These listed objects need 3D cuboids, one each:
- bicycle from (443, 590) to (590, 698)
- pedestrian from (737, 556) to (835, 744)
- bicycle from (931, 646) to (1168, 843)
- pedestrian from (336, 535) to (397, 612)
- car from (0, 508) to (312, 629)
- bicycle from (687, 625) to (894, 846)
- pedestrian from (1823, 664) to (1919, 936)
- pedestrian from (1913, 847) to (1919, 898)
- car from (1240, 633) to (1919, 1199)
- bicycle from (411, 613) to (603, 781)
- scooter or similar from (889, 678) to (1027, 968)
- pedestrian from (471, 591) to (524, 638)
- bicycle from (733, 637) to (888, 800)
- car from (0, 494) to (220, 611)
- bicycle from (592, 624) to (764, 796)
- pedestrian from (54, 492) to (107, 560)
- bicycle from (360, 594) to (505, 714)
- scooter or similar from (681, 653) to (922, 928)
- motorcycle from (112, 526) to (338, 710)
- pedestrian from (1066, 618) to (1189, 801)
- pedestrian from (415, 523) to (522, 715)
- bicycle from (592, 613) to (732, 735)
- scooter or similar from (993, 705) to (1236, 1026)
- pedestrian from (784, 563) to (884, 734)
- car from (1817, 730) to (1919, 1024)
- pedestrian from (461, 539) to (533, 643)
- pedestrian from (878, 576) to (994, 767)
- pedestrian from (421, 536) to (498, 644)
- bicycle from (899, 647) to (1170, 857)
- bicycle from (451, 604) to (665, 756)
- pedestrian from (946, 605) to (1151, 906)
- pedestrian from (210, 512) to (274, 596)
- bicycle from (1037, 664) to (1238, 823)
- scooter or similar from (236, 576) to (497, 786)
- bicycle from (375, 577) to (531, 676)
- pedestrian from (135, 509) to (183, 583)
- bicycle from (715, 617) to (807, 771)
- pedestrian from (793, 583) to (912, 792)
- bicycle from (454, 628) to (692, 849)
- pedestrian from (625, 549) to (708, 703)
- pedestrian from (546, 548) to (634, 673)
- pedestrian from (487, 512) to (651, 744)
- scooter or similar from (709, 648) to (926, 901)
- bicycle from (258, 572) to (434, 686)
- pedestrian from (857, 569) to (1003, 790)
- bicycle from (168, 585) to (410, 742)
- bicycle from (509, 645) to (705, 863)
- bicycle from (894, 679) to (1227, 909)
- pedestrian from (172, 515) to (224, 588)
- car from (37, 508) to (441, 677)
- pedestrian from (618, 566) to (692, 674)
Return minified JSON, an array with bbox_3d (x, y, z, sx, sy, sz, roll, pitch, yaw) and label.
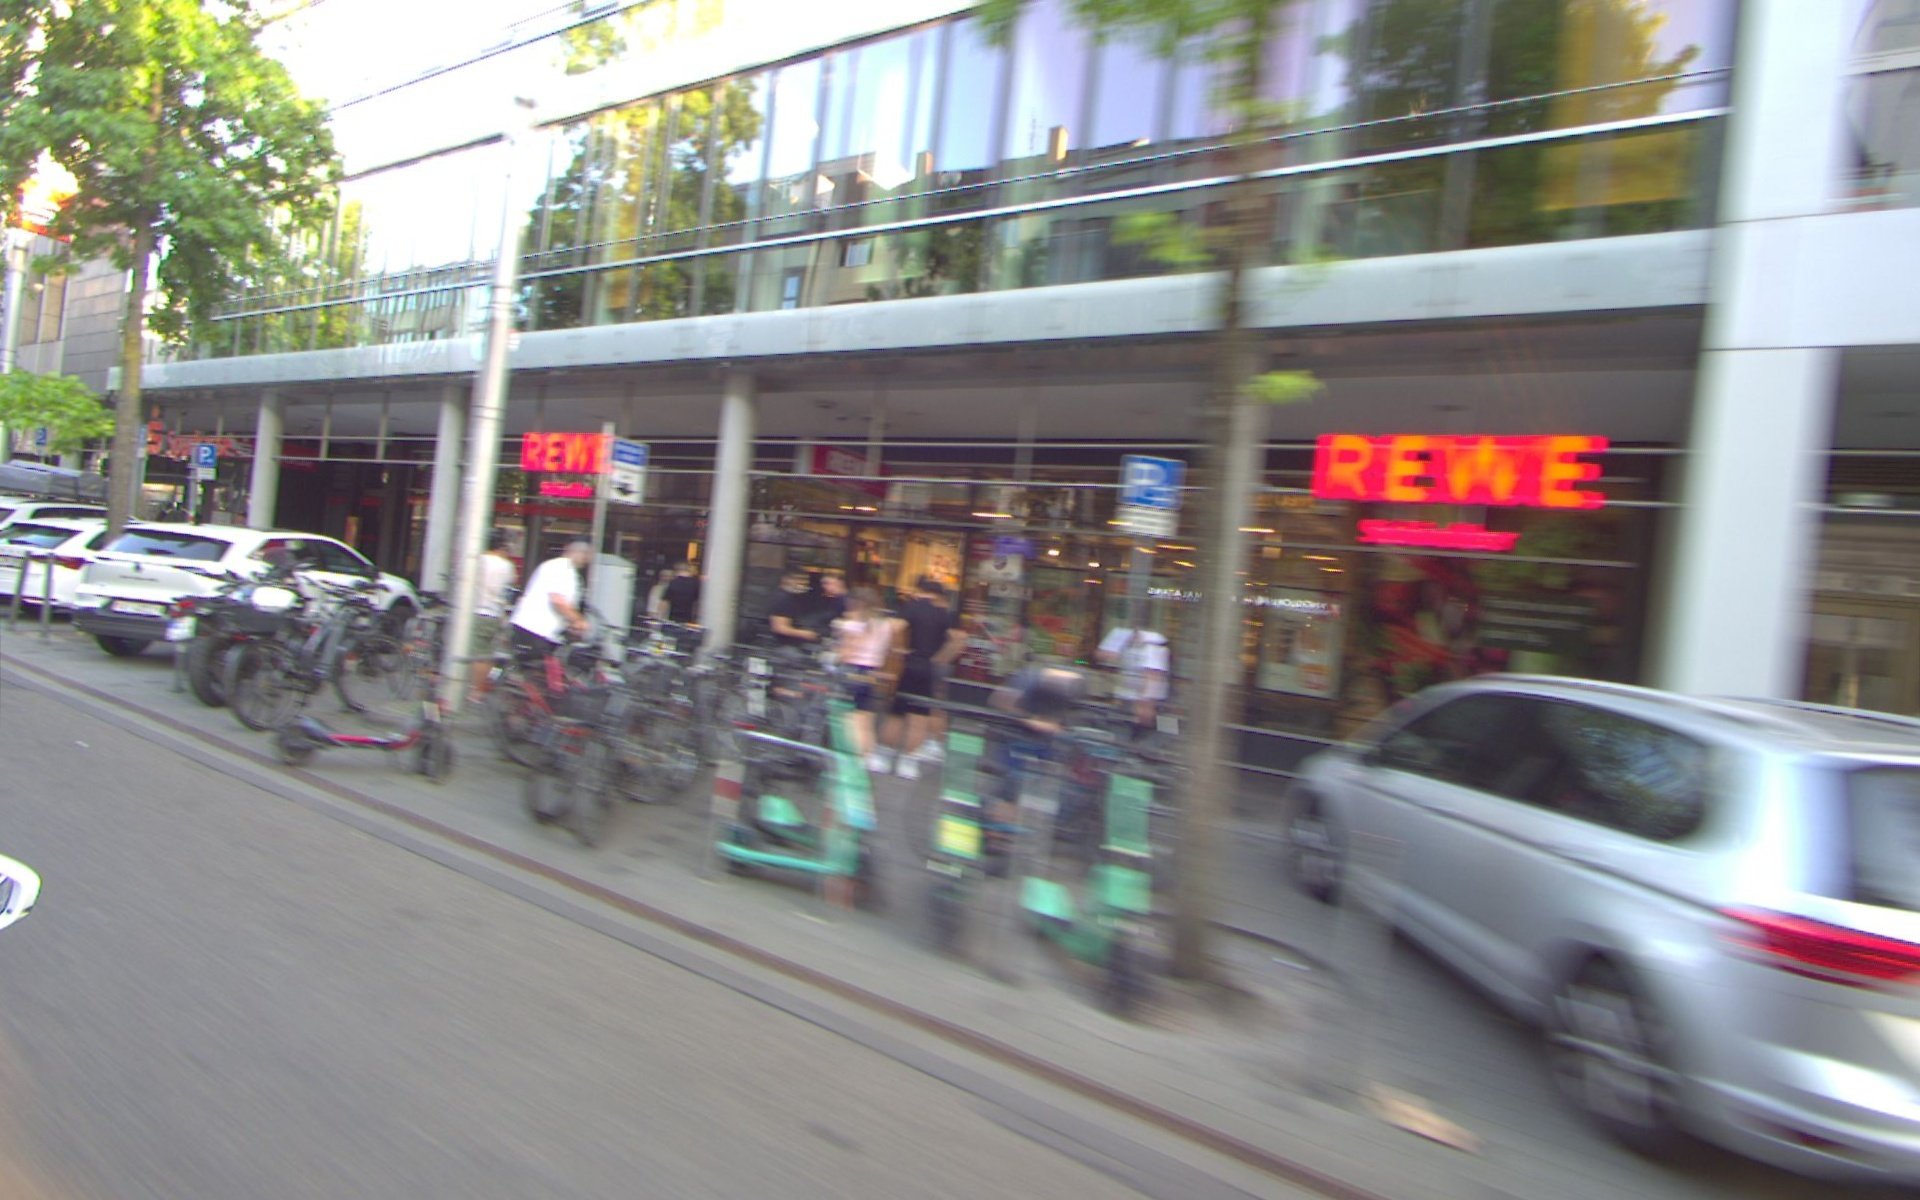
[{"bbox_3d":[-5.343,0.500,12.273,0.828,1.131,1.791,6,1,3],"label":"bicycle"},{"bbox_3d":[-1.802,0.505,10.383,0.652,1.836,0.712,5,2,-27],"label":"pedestrian"},{"bbox_3d":[0.673,1.095,7.644,1.571,1.305,0.577,6,2,-18],"label":"bicycle"},{"bbox_3d":[-12.710,-0.566,21.554,0.957,1.545,0.660,6,0,35],"label":"pedestrian"},{"bbox_3d":[-12.373,-0.460,15.287,1.828,1.477,4.183,6,1,9],"label":"car"},{"bbox_3d":[-1.138,0.871,7.237,0.668,1.290,1.833,7,1,14],"label":"bicycle"},{"bbox_3d":[6.772,1.413,7.063,0.792,1.792,0.681,8,0,32],"label":"pedestrian"},{"bbox_3d":[8.272,1.628,7.933,0.792,1.719,0.681,8,0,32],"label":"pedestrian"},{"bbox_3d":[3.221,1.203,5.163,1.919,1.661,4.671,6,1,-3],"label":"car"},{"bbox_3d":[-3.614,0.721,8.213,0.612,1.090,1.832,7,2,1],"label":"bicycle"},{"bbox_3d":[-0.056,1.080,5.286,0.490,1.196,1.331,7,0,-5],"label":"scooter or similar"},{"bbox_3d":[-8.841,0.279,19.218,0.654,0.791,0.607,5,-1,35],"label":"pedestrian"},{"bbox_3d":[-1.203,0.929,8.484,0.492,1.164,1.695,7,1,17],"label":"bicycle"},{"bbox_3d":[-14.703,-0.801,16.491,1.885,1.659,4.204,6,1,1],"label":"car"},{"bbox_3d":[-2.177,0.805,8.000,0.469,1.153,1.687,7,1,13],"label":"bicycle"},{"bbox_3d":[-26.026,-2.182,29.778,0.928,1.860,0.833,8,1,33],"label":"pedestrian"},{"bbox_3d":[-5.480,0.522,10.550,0.543,1.048,1.594,6,3,3],"label":"bicycle"},{"bbox_3d":[-0.885,0.972,5.503,1.195,1.238,0.482,6,2,34],"label":"scooter or similar"},{"bbox_3d":[-6.961,0.131,9.701,0.783,1.490,2.200,7,1,-11],"label":"motorcycle"},{"bbox_3d":[1.560,1.012,9.366,0.756,1.591,0.625,6,0,-35],"label":"pedestrian"},{"bbox_3d":[-5.017,0.180,10.310,0.590,1.837,0.817,6,3,-6],"label":"pedestrian"},{"bbox_3d":[-3.160,0.743,10.876,0.809,1.108,1.833,7,0,2],"label":"bicycle"},{"bbox_3d":[0.684,1.211,4.947,0.571,1.164,1.397,7,0,-14],"label":"scooter or similar"},{"bbox_3d":[-1.434,0.551,11.489,0.706,1.836,0.657,7,2,37],"label":"pedestrian"},{"bbox_3d":[5.743,1.578,3.703,1.918,1.441,4.349,6,1,11],"label":"car"},{"bbox_3d":[-8.169,-0.159,17.752,0.792,1.719,0.663,6,-1,32],"label":"pedestrian"},{"bbox_3d":[-0.235,0.703,10.098,0.720,1.776,0.715,7,2,33],"label":"pedestrian"},{"bbox_3d":[-8.501,-0.167,17.091,0.792,1.719,0.681,6,-1,32],"label":"pedestrian"},{"bbox_3d":[0.513,1.058,6.969,1.639,1.266,0.637,6,2,-22],"label":"bicycle"},{"bbox_3d":[-3.599,0.665,9.234,0.685,1.163,2.000,7,1,14],"label":"bicycle"},{"bbox_3d":[0.536,0.907,6.171,0.785,1.647,0.761,5,2,-39],"label":"pedestrian"},{"bbox_3d":[-16.628,-1.064,23.302,0.743,1.805,0.878,8,2,32],"label":"pedestrian"},{"bbox_3d":[1.558,1.255,9.183,0.568,1.097,1.866,5,1,-35],"label":"bicycle"},{"bbox_3d":[-4.297,0.570,7.373,1.369,1.321,0.696,7,1,-6],"label":"scooter or similar"},{"bbox_3d":[-6.646,0.340,13.313,0.918,1.131,1.750,6,0,9],"label":"bicycle"},{"bbox_3d":[-18.988,-1.282,23.847,0.743,1.637,0.596,8,2,32],"label":"pedestrian"},{"bbox_3d":[-1.837,0.827,9.475,0.545,1.205,1.693,6,1,-5],"label":"bicycle"},{"bbox_3d":[-0.917,0.722,8.466,0.696,1.645,0.656,5,2,-22],"label":"pedestrian"},{"bbox_3d":[-2.521,0.834,6.852,0.667,1.145,1.992,7,1,3],"label":"bicycle"},{"bbox_3d":[-3.700,0.315,12.651,0.781,1.836,0.656,5,2,-22],"label":"pedestrian"},{"bbox_3d":[-5.510,0.160,14.998,0.792,1.719,0.681,8,0,32],"label":"pedestrian"},{"bbox_3d":[-3.585,0.239,9.276,0.847,1.939,0.951,7,3,21],"label":"pedestrian"},{"bbox_3d":[-0.884,0.977,6.033,0.566,1.220,1.266,5,2,-43],"label":"scooter or similar"},{"bbox_3d":[-7.027,0.313,11.644,0.902,1.131,1.749,6,0,-2],"label":"bicycle"},{"bbox_3d":[-0.290,0.694,9.071,0.875,1.836,0.932,5,2,-22],"label":"pedestrian"},{"bbox_3d":[-5.676,0.499,8.668,0.792,1.131,1.749,7,0,1],"label":"bicycle"},{"bbox_3d":[-2.211,0.906,6.532,0.485,1.090,1.748,7,1,3],"label":"bicycle"},{"bbox_3d":[0.577,1.164,6.175,1.845,1.090,0.630,7,2,-3],"label":"bicycle"},{"bbox_3d":[-18.465,-1.177,24.385,1.005,1.637,0.596,8,2,32],"label":"pedestrian"},{"bbox_3d":[-8.626,-0.107,12.634,1.842,1.583,4.341,6,1,0],"label":"car"},{"bbox_3d":[-4.702,0.318,15.521,0.654,1.566,0.681,6,-1,32],"label":"pedestrian"}]
